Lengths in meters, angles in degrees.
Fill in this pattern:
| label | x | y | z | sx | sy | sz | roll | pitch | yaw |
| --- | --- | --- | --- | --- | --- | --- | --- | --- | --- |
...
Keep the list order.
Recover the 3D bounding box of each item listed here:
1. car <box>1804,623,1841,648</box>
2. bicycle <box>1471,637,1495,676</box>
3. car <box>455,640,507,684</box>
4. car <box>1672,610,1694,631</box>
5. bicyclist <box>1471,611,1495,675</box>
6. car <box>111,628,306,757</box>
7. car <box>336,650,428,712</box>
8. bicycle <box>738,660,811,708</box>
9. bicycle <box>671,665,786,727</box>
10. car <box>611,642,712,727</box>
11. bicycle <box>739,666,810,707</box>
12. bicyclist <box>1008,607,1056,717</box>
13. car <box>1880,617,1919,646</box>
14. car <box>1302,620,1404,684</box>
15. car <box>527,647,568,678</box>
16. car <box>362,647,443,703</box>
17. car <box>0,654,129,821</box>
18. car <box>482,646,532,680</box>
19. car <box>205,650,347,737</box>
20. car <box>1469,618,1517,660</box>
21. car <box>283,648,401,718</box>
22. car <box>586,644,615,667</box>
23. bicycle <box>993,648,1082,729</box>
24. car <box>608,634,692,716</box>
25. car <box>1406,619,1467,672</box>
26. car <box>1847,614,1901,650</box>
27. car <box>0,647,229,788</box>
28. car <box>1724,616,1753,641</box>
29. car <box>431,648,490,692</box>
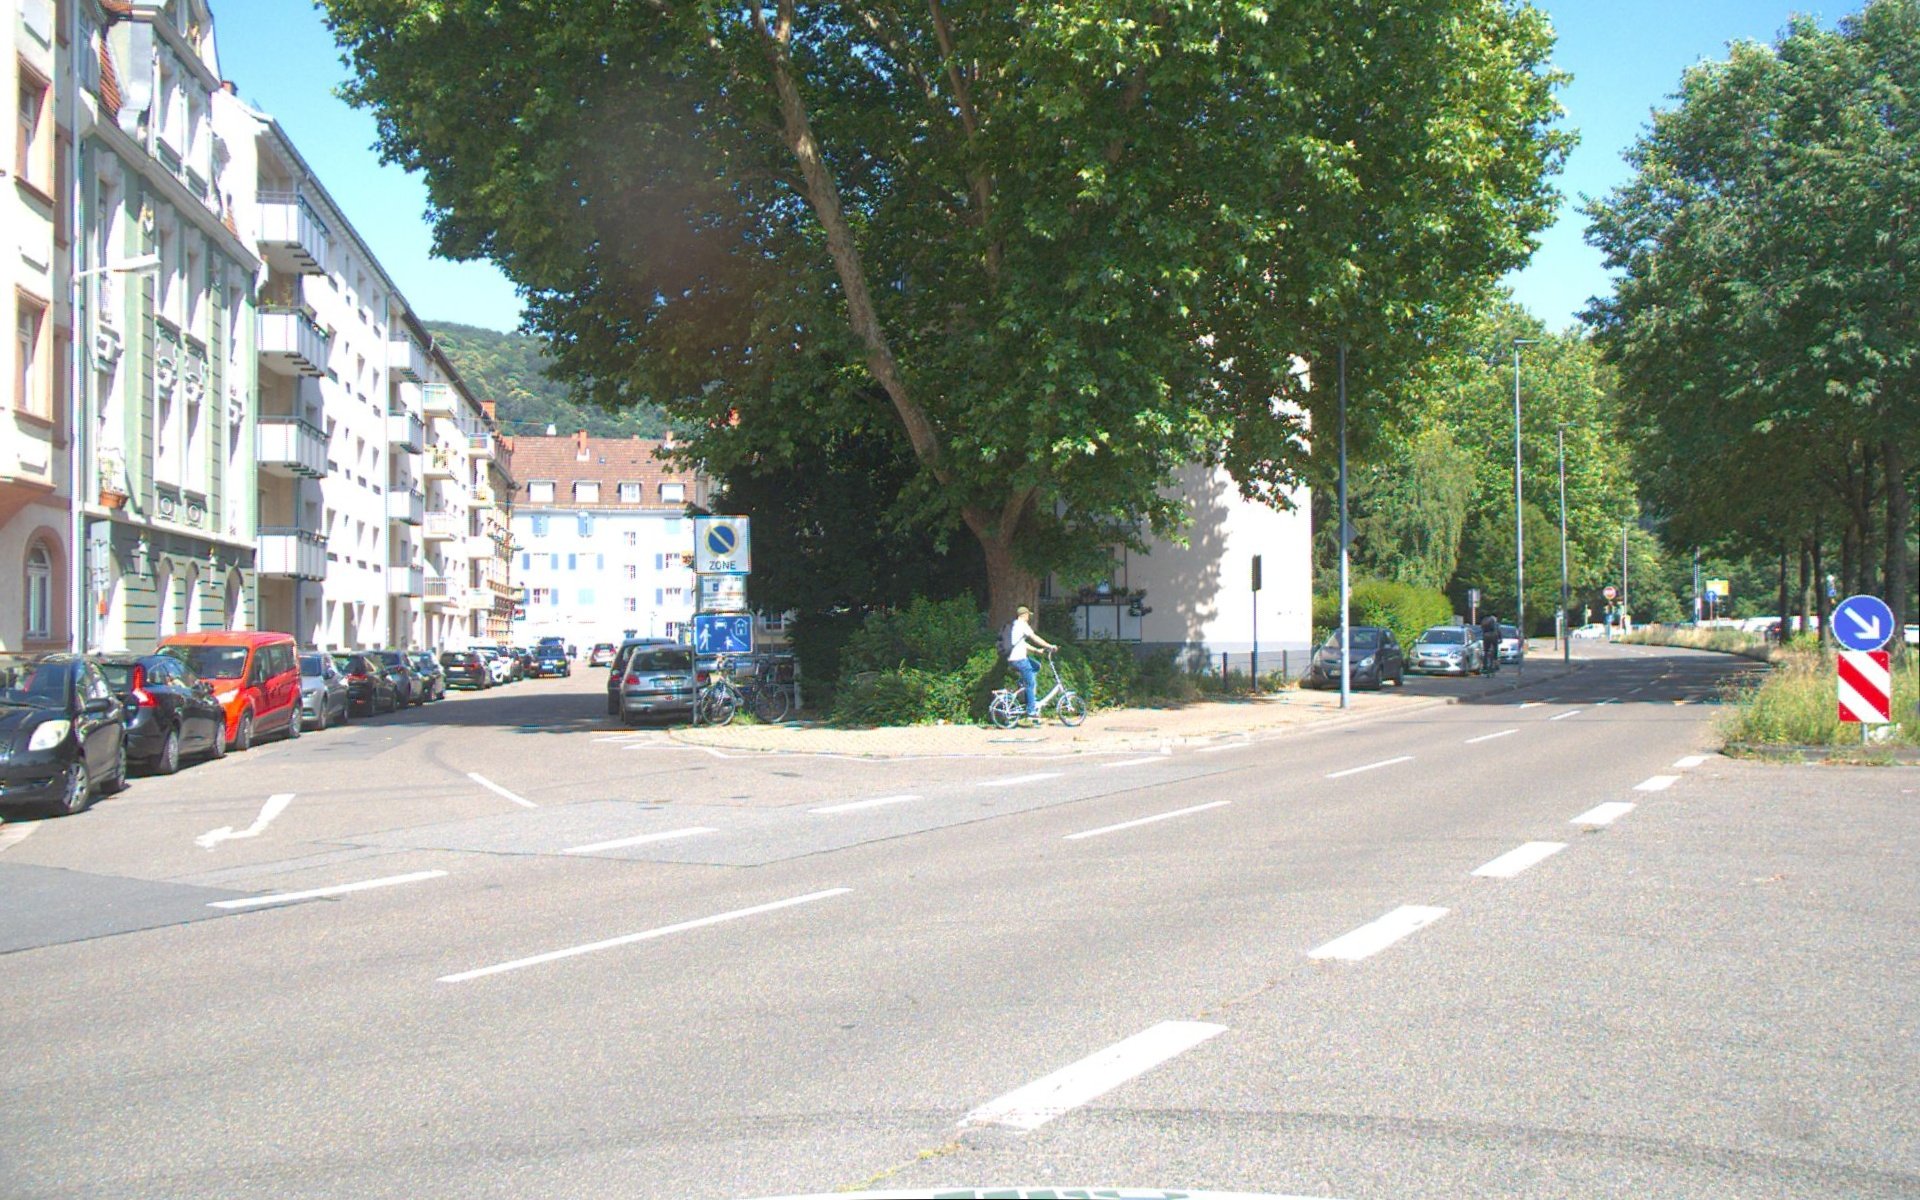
| label | x | y | z | sx | sy | sz | roll | pitch | yaw |
| --- | --- | --- | --- | --- | --- | --- | --- | --- | --- |
| car | 55.358 | 2.263 | 106.197 | 1.595 | 1.522 | 3.681 | -1 | -1 | 20 |
| bicycle | 15.893 | 1.702 | 50.263 | 0.645 | 1.142 | 1.803 | -1 | -1 | 19 |
| car | -19.772 | 2.532 | 68.446 | 1.831 | 1.752 | 3.849 | 0 | -1 | -13 |
| car | 65.623 | 1.900 | 150.151 | 1.595 | 1.843 | 3.592 | -1 | -2 | 20 |
| bicyclist | 15.949 | 1.317 | 50.422 | 0.632 | 1.927 | 0.839 | -1 | -1 | 19 |
| car | -11.909 | 1.403 | 26.502 | 1.832 | 1.873 | 4.215 | 0 | -1 | -10 |
| car | -15.179 | 2.089 | 43.619 | 1.831 | 1.512 | 3.986 | 0 | -1 | -13 |
| bicycle | -4.093 | 1.850 | 36.457 | 1.543 | 1.011 | 0.455 | 1 | -1 | -13 |
| bicycle | -4.025 | 1.655 | 28.690 | 1.861 | 1.001 | 0.969 | 0 | -1 | -16 |
| car | -5.622 | 1.549 | 31.300 | 1.772 | 1.477 | 3.785 | 0 | -1 | -10 |
| bicycle | -3.979 | 1.863 | 35.481 | 1.475 | 0.848 | 0.382 | 1 | -1 | -13 |
| bicyclist | 1.106 | 0.946 | 25.510 | 0.578 | 1.662 | 0.538 | 0 | -1 | -17 |
| car | 56.452 | 1.890 | 98.859 | 1.952 | 1.706 | 4.000 | -1 | -1 | 20 |
| car | 9.885 | 1.275 | 41.427 | 1.752 | 1.539 | 3.891 | -1 | -1 | 25 |
| car | -20.682 | 3.103 | 83.025 | 1.716 | 1.486 | 3.771 | 0 | -1 | -10 |
| car | -16.259 | 2.150 | 48.371 | 1.831 | 1.512 | 3.986 | 0 | -1 | -13 |
| car | -9.616 | 1.305 | 16.616 | 1.794 | 1.472 | 3.746 | 0 | -1 | -20 |
| car | -21.490 | 2.969 | 78.536 | 1.958 | 1.504 | 3.989 | 0 | -1 | -11 |
| car | -13.081 | 1.739 | 31.865 | 1.830 | 1.512 | 3.987 | 0 | -1 | -12 |
| car | 22.178 | 1.612 | 68.690 | 1.733 | 1.709 | 4.000 | -1 | -1 | 20 |
| car | -14.378 | 1.887 | 38.704 | 1.829 | 1.512 | 3.991 | 0 | -1 | -9 |
| car | -24.754 | 3.799 | 113.925 | 1.716 | 1.507 | 3.771 | 0 | -1 | -10 |
| bicycle | 1.192 | 1.358 | 25.516 | 1.261 | 1.209 | 0.552 | 0 | -1 | -16 |
| car | -6.808 | 1.608 | 36.552 | 1.716 | 1.686 | 3.771 | 0 | -1 | -10 |
| car | 15.004 | 1.411 | 51.938 | 1.607 | 1.601 | 4.001 | -1 | -1 | 19 |
| car | 50.166 | 1.739 | 90.813 | 1.952 | 1.924 | 4.000 | -1 | -1 | 20 |
| car | -10.934 | 1.432 | 21.386 | 1.948 | 1.570 | 4.049 | -1 | -1 | -13 |
| car | 57.895 | 2.153 | 122.975 | 1.595 | 1.843 | 3.592 | 0 | -1 | 20 |
| car | -18.579 | 2.576 | 61.607 | 1.831 | 1.512 | 3.849 | 0 | -1 | -13 |
